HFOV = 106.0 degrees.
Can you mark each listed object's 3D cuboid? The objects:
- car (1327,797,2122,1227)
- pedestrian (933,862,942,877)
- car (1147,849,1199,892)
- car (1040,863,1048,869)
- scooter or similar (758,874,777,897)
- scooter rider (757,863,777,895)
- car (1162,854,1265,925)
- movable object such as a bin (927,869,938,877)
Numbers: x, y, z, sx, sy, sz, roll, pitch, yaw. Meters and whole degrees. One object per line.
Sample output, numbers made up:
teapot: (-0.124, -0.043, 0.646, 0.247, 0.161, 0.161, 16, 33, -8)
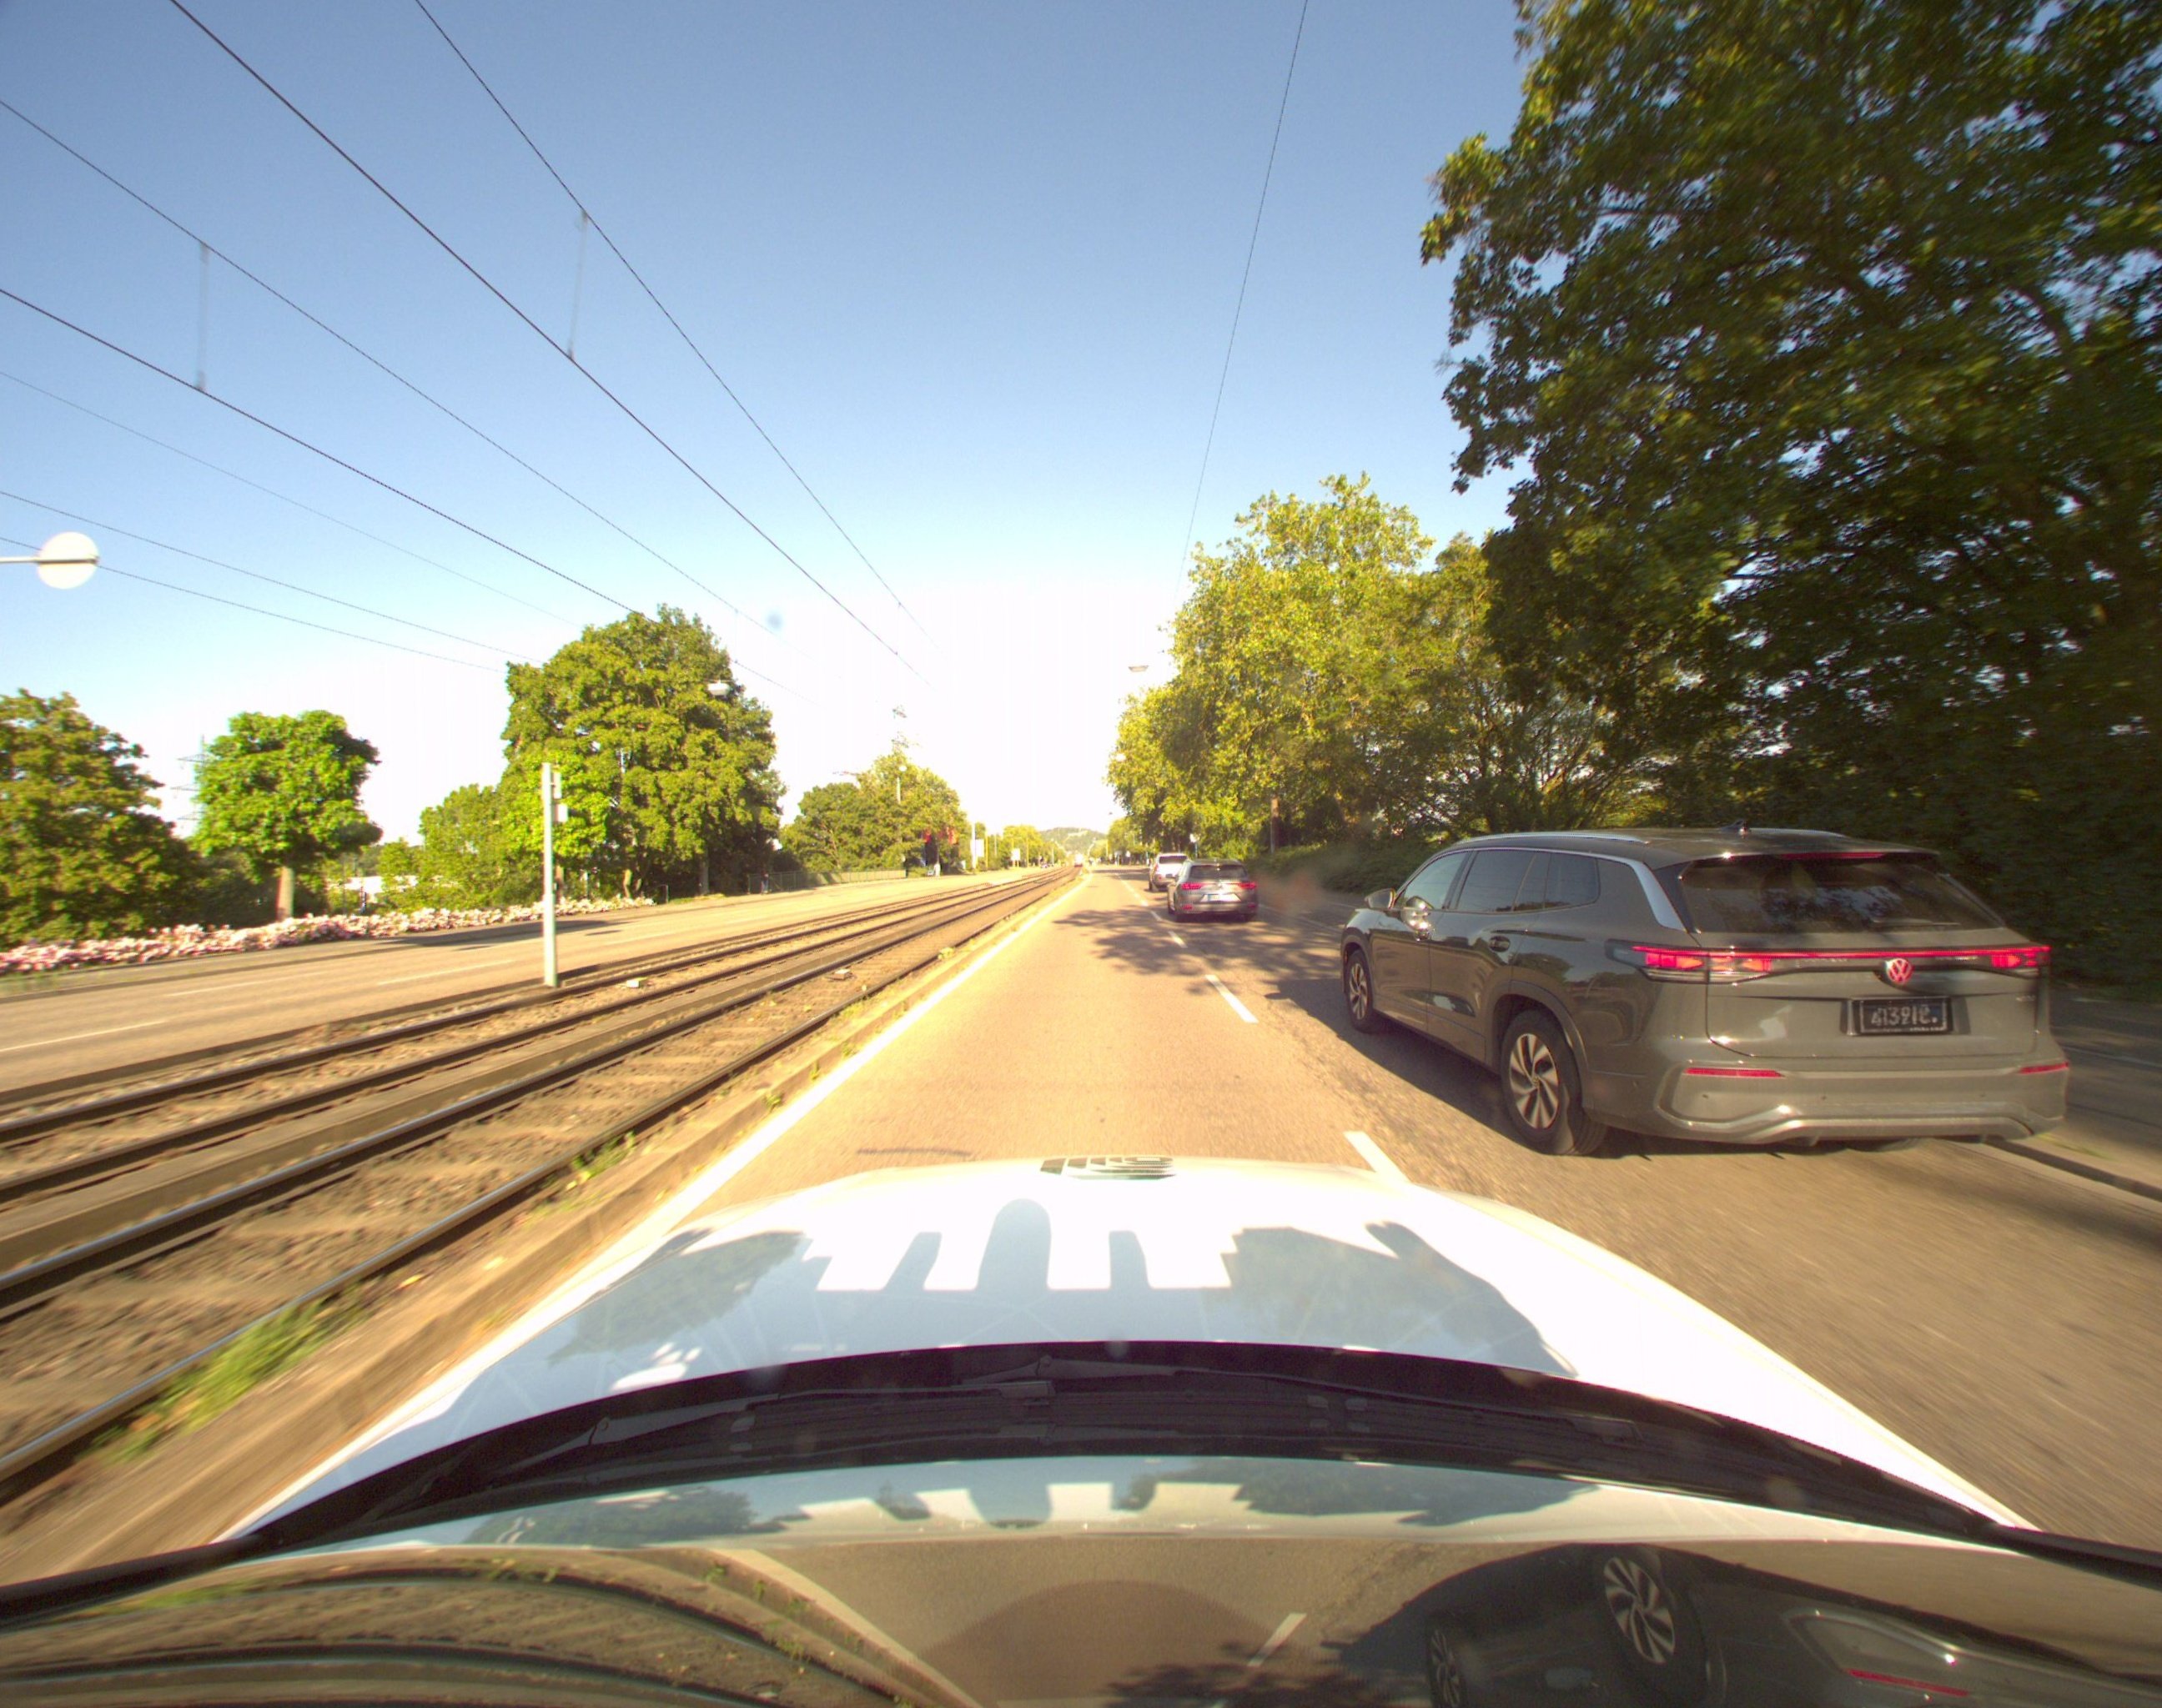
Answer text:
car: (3.178, 0.625, 5.403, 1.838, 1.661, 4.440, -1, 0, 1)
pedestrian: (-17.268, 1.853, 97.813, 0.718, 1.756, 0.840, 0, -2, 23)
car: (4.013, 0.699, 36.175, 1.877, 1.795, 4.000, 0, 0, 0)
car: (-9.998, 3.222, 219.918, 1.856, 1.720, 4.000, -2, 0, 1)
scooter or similar: (-18.675, 1.876, 48.530, 0.469, 1.296, 1.265, -2, 0, 8)
scooter rider: (-18.693, 1.462, 48.494, 0.678, 1.848, 1.003, -2, 0, 9)
car: (3.072, 0.772, 19.796, 1.859, 1.467, 4.667, -2, 0, 2)
movable object such as a bin: (-17.655, 2.218, 96.908, 0.718, 0.961, 1.107, 0, -1, 23)
